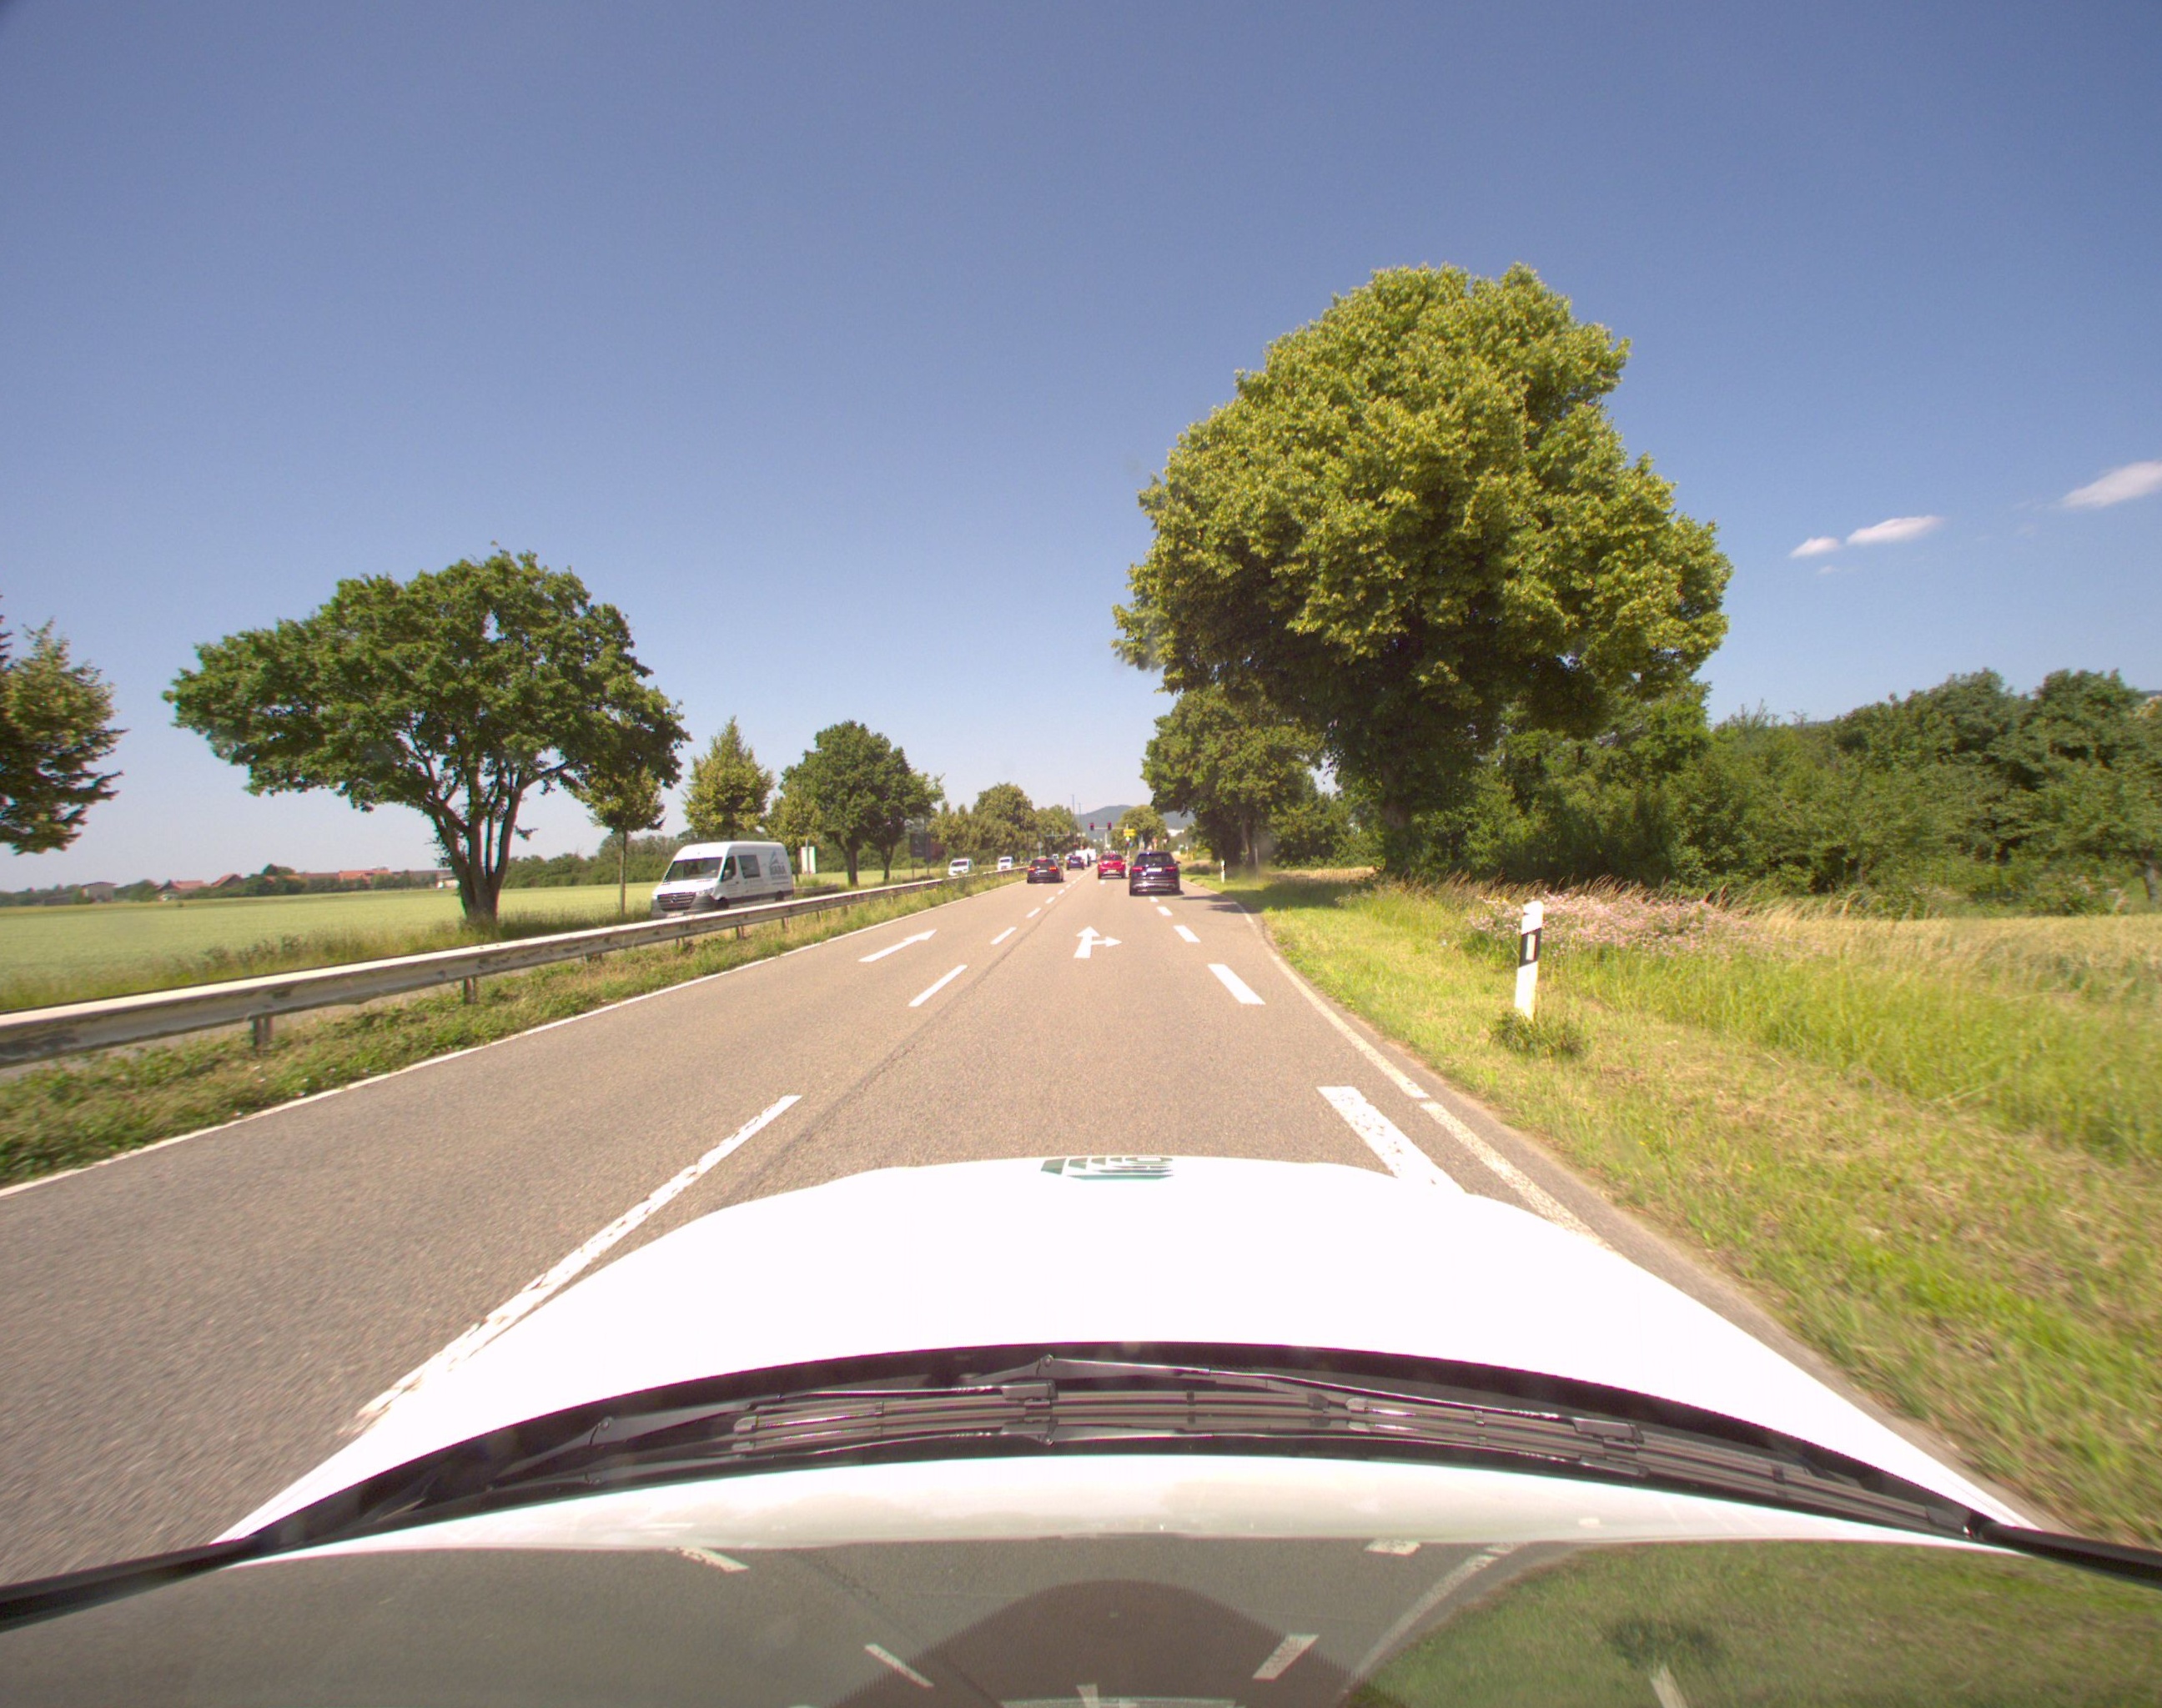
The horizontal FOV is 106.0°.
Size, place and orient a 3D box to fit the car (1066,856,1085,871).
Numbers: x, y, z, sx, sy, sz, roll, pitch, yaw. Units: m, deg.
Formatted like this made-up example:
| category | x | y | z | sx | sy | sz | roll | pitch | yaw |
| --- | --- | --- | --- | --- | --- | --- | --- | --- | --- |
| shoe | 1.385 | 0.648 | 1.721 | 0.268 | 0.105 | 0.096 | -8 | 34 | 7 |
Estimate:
| category | x | y | z | sx | sy | sz | roll | pitch | yaw |
| --- | --- | --- | --- | --- | --- | --- | --- | --- | --- |
| car | -0.573 | 0.952 | 82.969 | 1.710 | 1.465 | 4.032 | -2 | 0 | 2 |

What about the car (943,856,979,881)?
| category | x | y | z | sx | sy | sz | roll | pitch | yaw |
| --- | --- | --- | --- | --- | --- | --- | --- | --- | --- |
| car | -10.384 | 1.228 | 70.858 | 2.028 | 2.013 | 4.539 | -3 | 0 | 5 |

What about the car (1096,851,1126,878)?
| category | x | y | z | sx | sy | sz | roll | pitch | yaw |
| --- | --- | --- | --- | --- | --- | --- | --- | --- | --- |
| car | 1.911 | 0.636 | 50.673 | 1.742 | 1.575 | 3.680 | -1 | 0 | 3 |

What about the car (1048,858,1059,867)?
| category | x | y | z | sx | sy | sz | roll | pitch | yaw |
| --- | --- | --- | --- | --- | --- | --- | --- | --- | --- |
| car | -5.730 | 1.786 | 168.506 | 1.986 | 1.662 | 4.482 | -3 | 0 | 1 |

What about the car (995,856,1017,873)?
| category | x | y | z | sx | sy | sz | roll | pitch | yaw |
| --- | --- | --- | --- | --- | --- | --- | --- | --- | --- |
| car | -9.755 | 1.350 | 106.157 | 1.985 | 1.960 | 4.932 | -3 | 0 | 3 |

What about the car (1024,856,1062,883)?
| category | x | y | z | sx | sy | sz | roll | pitch | yaw |
| --- | --- | --- | --- | --- | --- | --- | --- | --- | --- |
| car | -2.090 | 0.839 | 45.698 | 1.733 | 1.380 | 4.457 | -1 | 0 | 2 |

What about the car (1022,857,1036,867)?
| category | x | y | z | sx | sy | sz | roll | pitch | yaw |
| --- | --- | --- | --- | --- | --- | --- | --- | --- | --- |
| car | -8.859 | 1.365 | 138.630 | 1.986 | 1.662 | 4.482 | -2 | 0 | 1 |

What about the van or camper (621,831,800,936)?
| category | x | y | z | sx | sy | sz | roll | pitch | yaw |
| --- | --- | --- | --- | --- | --- | --- | --- | --- | --- |
| van or camper | -12.060 | 0.869 | 27.334 | 2.376 | 2.948 | 7.095 | -3 | 0 | 2 |

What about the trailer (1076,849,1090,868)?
| category | x | y | z | sx | sy | sz | roll | pitch | yaw |
| --- | --- | --- | --- | --- | --- | --- | --- | --- | --- |
| trailer | 0.232 | 0.571 | 100.616 | 1.495 | 2.173 | 4.175 | -3 | 0 | 2 |

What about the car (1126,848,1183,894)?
| category | x | y | z | sx | sy | sz | roll | pitch | yaw |
| --- | --- | --- | --- | --- | --- | --- | --- | --- | --- |
| car | 2.737 | 0.606 | 31.098 | 1.985 | 1.616 | 4.343 | -1 | 0 | 3 |

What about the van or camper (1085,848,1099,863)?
| category | x | y | z | sx | sy | sz | roll | pitch | yaw |
| --- | --- | --- | --- | --- | --- | --- | --- | --- | --- |
| van or camper | 1.857 | 0.284 | 136.532 | 2.170 | 2.302 | 4.830 | -3 | 0 | 3 |

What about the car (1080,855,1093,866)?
| category | x | y | z | sx | sy | sz | roll | pitch | yaw |
| --- | --- | --- | --- | --- | --- | --- | --- | --- | --- |
| car | 0.866 | 0.964 | 125.033 | 1.717 | 1.600 | 3.958 | -2 | 0 | 2 |
